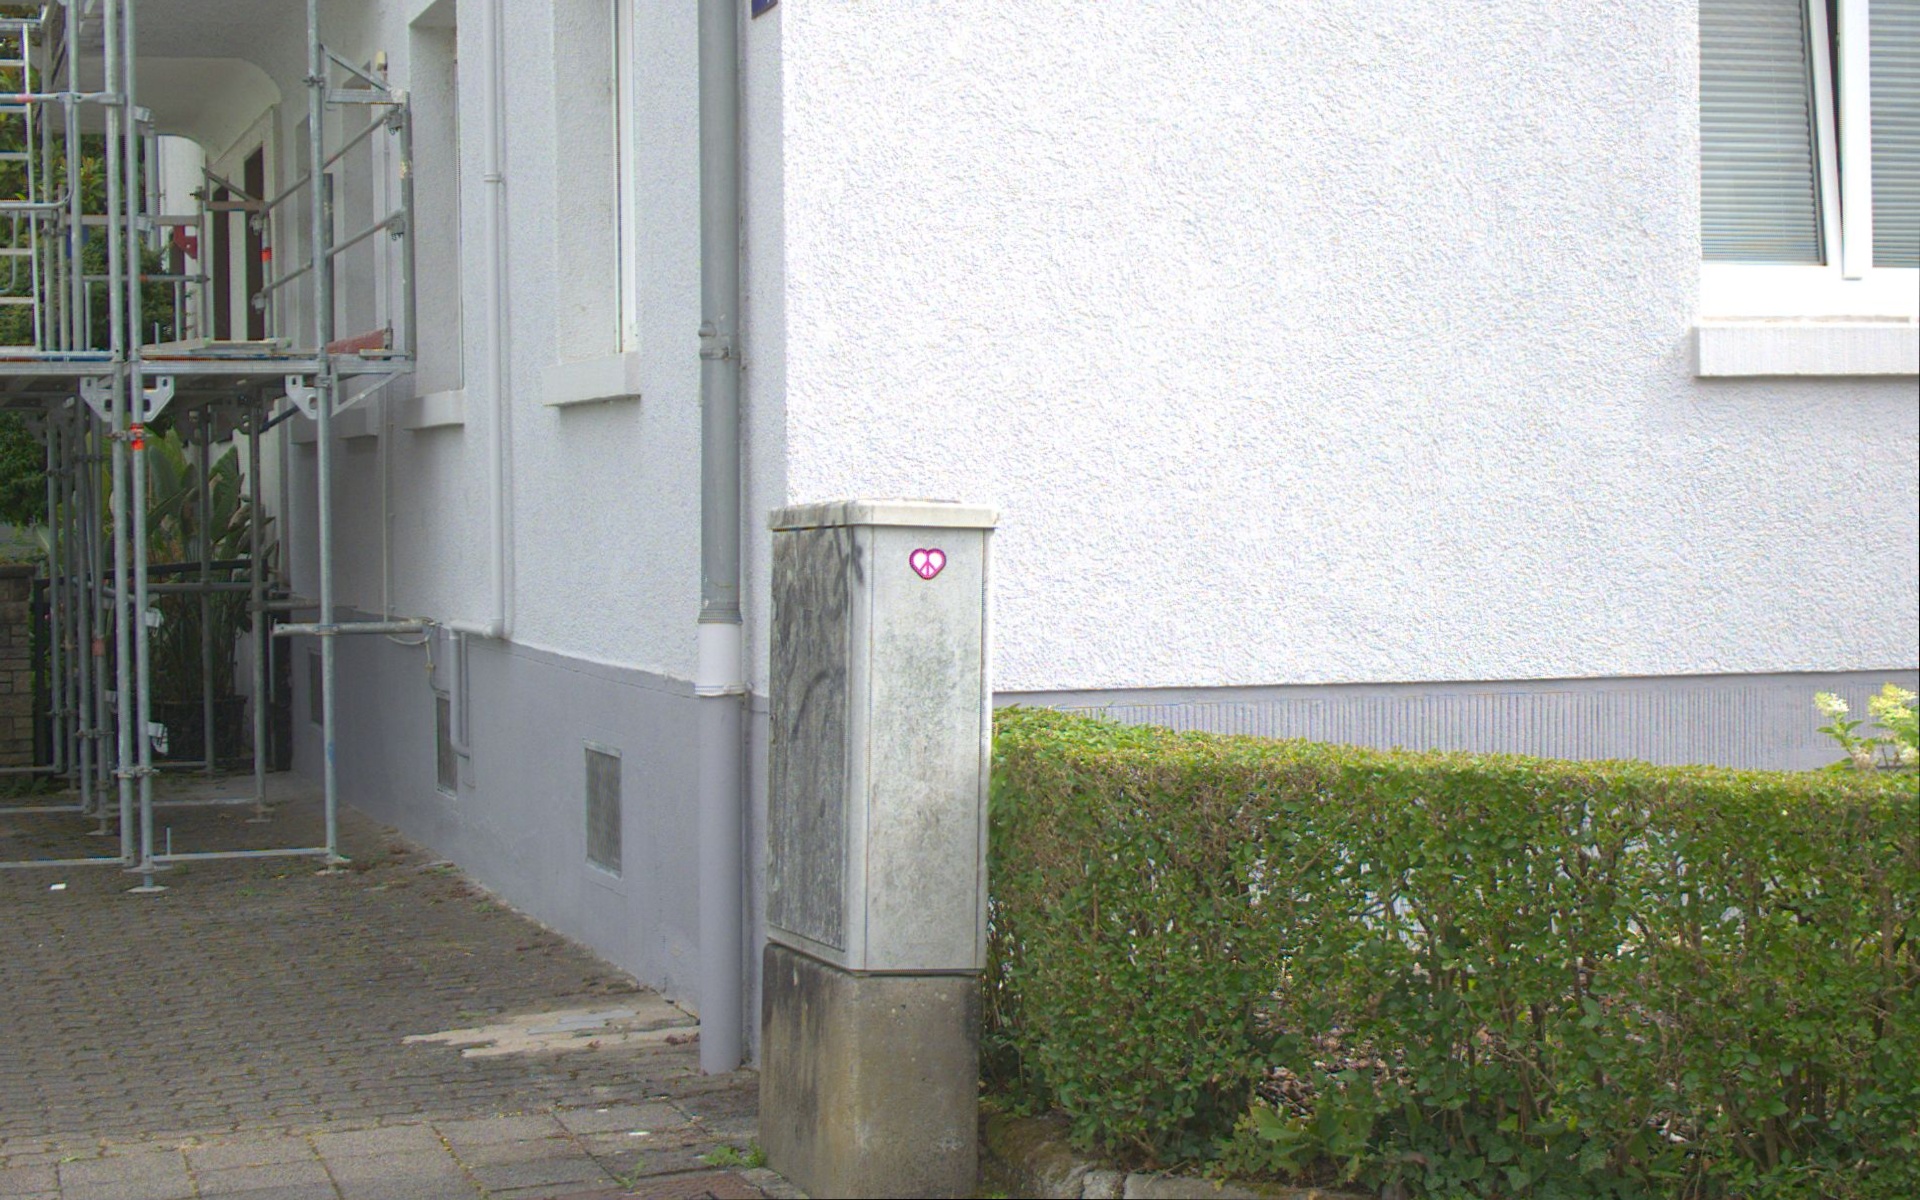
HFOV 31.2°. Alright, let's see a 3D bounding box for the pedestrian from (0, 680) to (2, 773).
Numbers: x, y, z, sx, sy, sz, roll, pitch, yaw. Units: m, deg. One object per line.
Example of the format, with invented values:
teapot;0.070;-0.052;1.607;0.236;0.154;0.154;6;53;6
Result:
pedestrian;-5.956;0.210;19.895;0.601;1.623;0.625;-1;0;2
